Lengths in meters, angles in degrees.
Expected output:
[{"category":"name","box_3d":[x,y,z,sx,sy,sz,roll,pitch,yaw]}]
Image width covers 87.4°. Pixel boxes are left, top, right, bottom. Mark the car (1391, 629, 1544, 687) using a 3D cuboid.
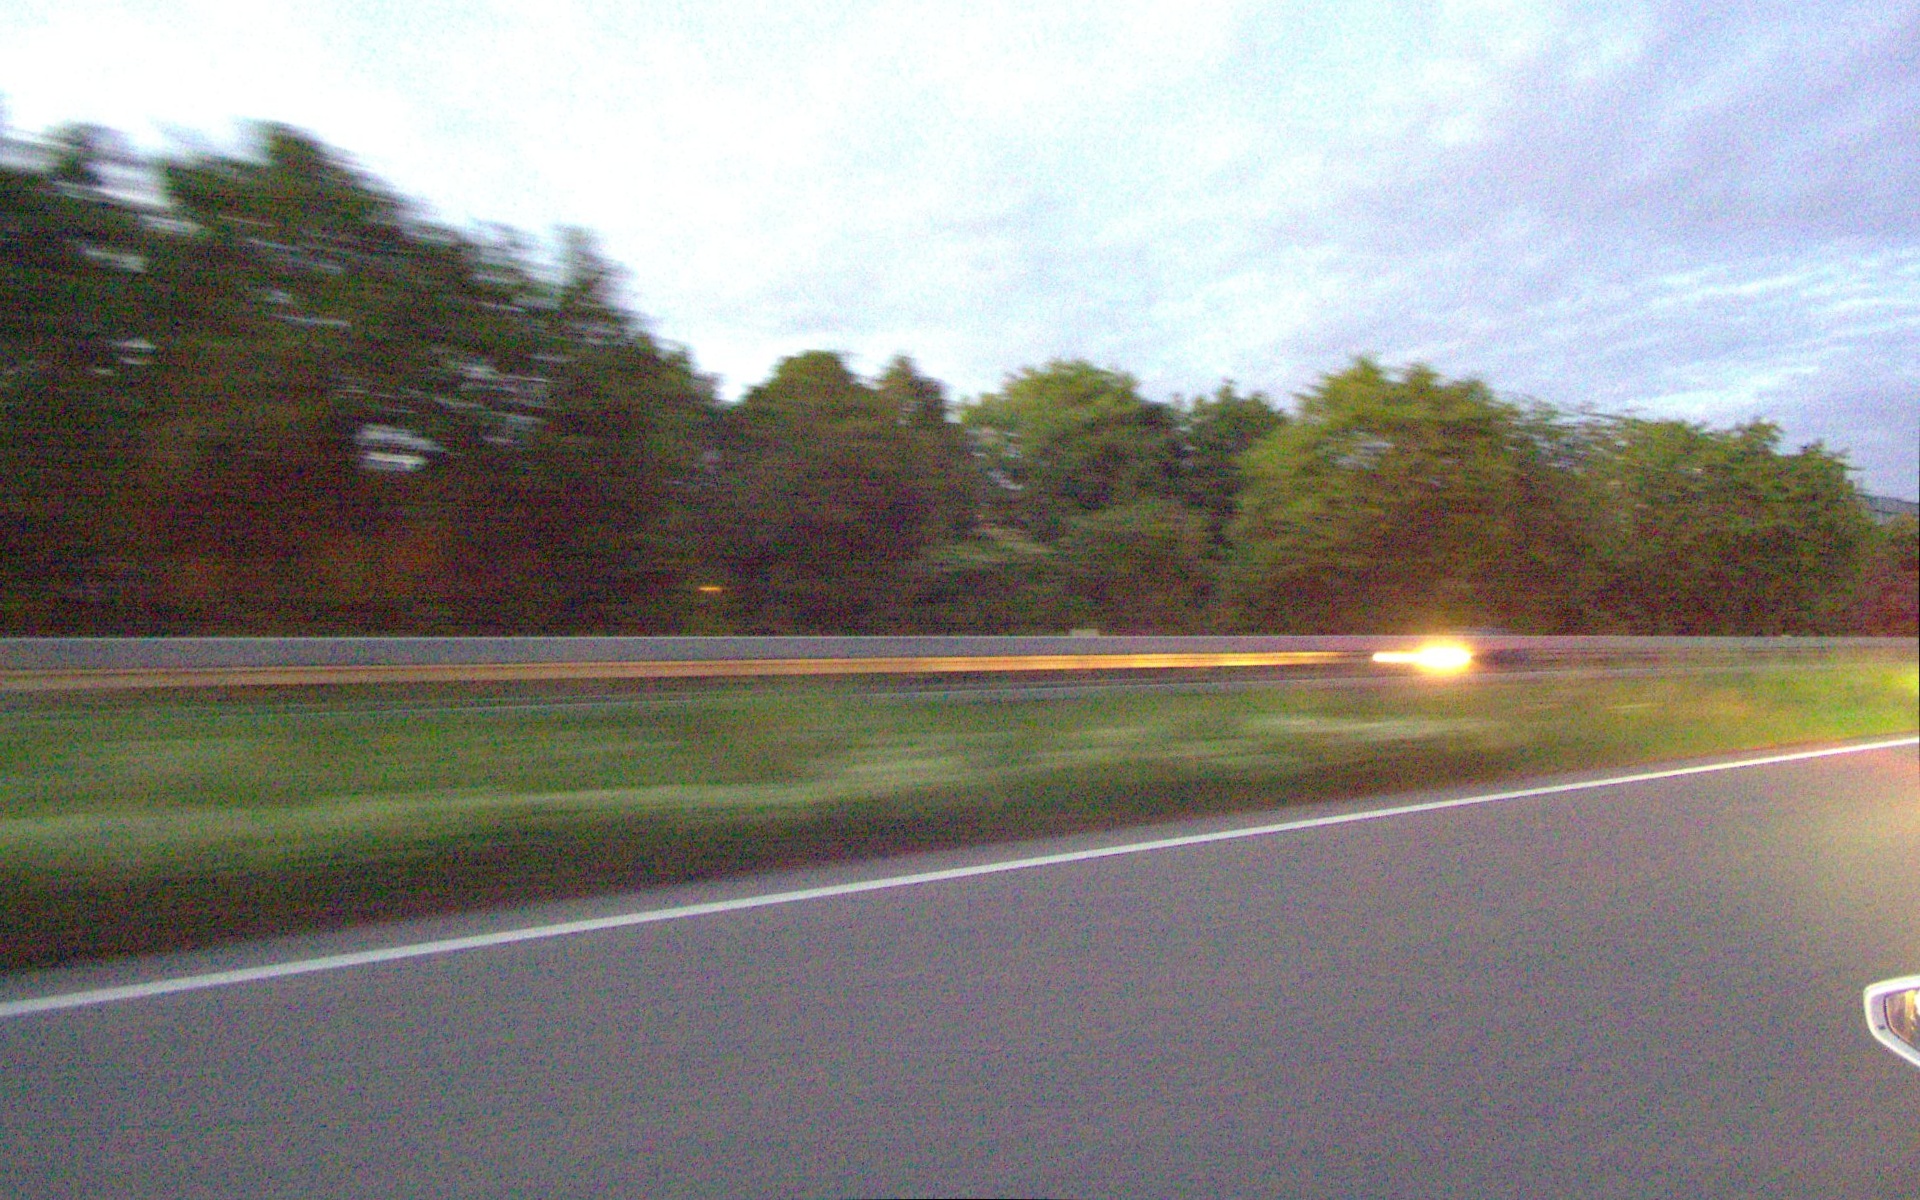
[{"category":"car","box_3d":[13.016,1.448,25.734,3.893,1.340,1.622,1,0,-30]}]
